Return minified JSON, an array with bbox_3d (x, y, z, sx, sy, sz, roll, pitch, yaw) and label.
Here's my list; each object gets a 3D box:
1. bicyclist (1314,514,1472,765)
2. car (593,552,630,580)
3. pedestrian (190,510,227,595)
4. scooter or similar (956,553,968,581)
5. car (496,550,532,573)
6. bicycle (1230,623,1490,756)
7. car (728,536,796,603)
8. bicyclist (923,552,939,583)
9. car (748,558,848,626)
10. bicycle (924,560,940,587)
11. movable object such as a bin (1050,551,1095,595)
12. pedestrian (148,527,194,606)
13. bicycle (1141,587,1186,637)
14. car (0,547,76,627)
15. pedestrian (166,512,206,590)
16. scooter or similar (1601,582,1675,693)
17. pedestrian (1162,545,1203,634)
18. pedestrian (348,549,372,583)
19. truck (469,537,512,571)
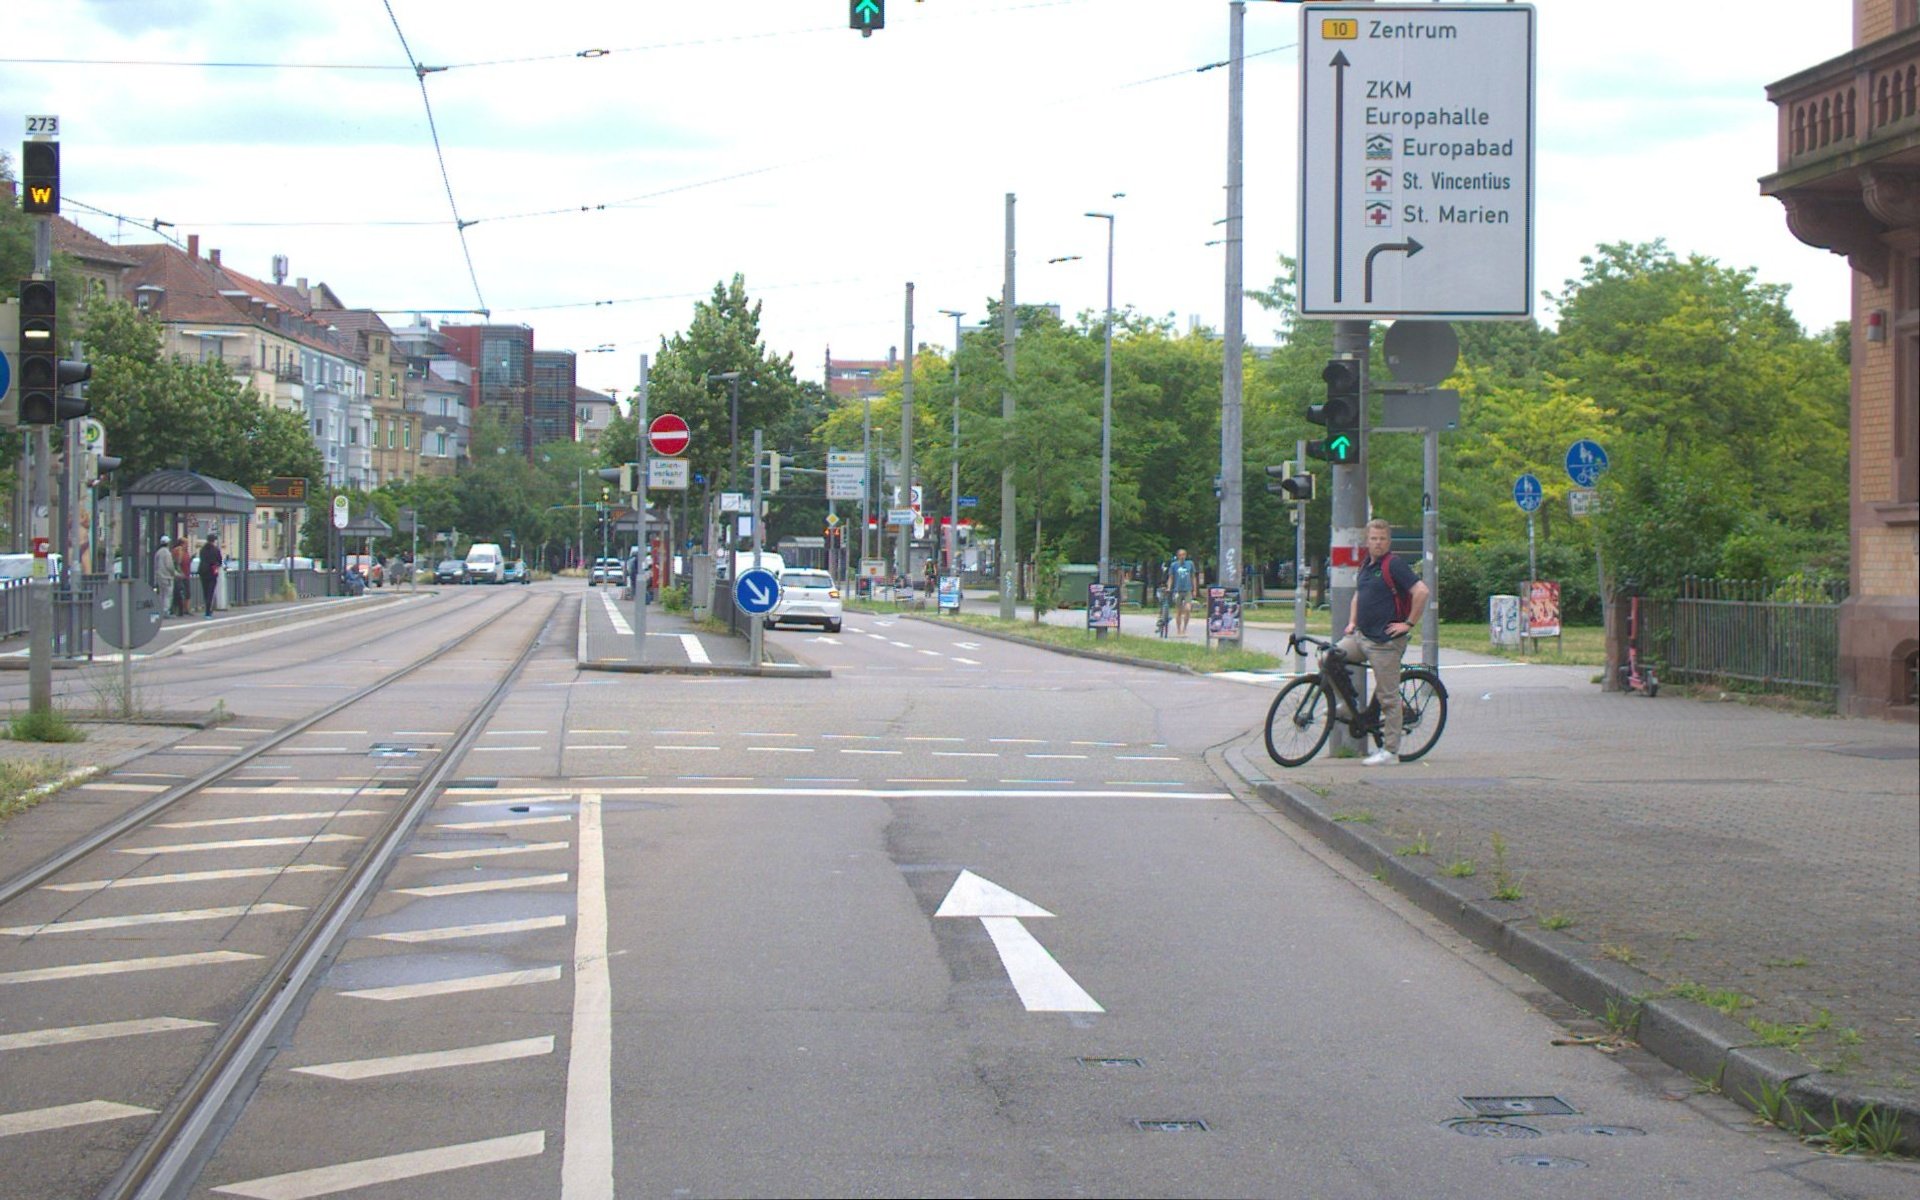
[{"bbox_3d":[3.150,0.275,25.064,0.680,1.789,0.891,1,1,-37],"label":"bicyclist"},{"bbox_3d":[-19.308,-1.893,190.439,1.770,1.488,3.887,1,0,-2],"label":"car"},{"bbox_3d":[-15.315,-0.965,70.050,0.699,1.709,0.699,0,1,-14],"label":"pedestrian"},{"bbox_3d":[0.080,-1.325,137.192,0.376,1.137,1.199,0,1,5],"label":"scooter or similar"},{"bbox_3d":[-28.534,-2.463,220.023,1.770,1.488,3.887,1,0,0],"label":"car"},{"bbox_3d":[2.954,0.642,25.316,1.862,0.921,0.796,0,1,-38],"label":"bicycle"},{"bbox_3d":[-5.957,-0.933,103.161,1.782,1.956,4.383,1,1,-7],"label":"car"},{"bbox_3d":[-1.256,-1.429,150.680,0.679,1.375,0.727,0,1,0],"label":"bicyclist"},{"bbox_3d":[-3.760,-0.204,79.205,1.782,1.467,4.011,1,1,-10],"label":"car"},{"bbox_3d":[-1.243,-1.182,150.676,0.679,1.151,1.898,0,1,0],"label":"bicycle"},{"bbox_3d":[3.634,-0.877,111.190,1.282,1.385,1.159,1,0,-5],"label":"movable object such as a bin"},{"bbox_3d":[-16.225,-0.691,70.734,0.679,1.618,0.632,1,1,35],"label":"pedestrian"},{"bbox_3d":[4.260,0.243,72.216,0.654,0.999,1.779,0,1,-6],"label":"bicycle"},{"bbox_3d":[-19.822,-0.294,72.458,1.770,1.633,4.538,1,0,-8],"label":"car"},{"bbox_3d":[-16.594,-1.051,73.720,0.768,1.654,1.025,0,1,-9],"label":"pedestrian"},{"bbox_3d":[7.100,0.384,36.023,0.376,1.137,1.200,0,1,-9],"label":"scooter or similar"},{"bbox_3d":[4.665,-0.218,72.187,0.739,1.863,0.682,0,1,-7],"label":"pedestrian"},{"bbox_3d":[-22.124,-1.264,126.741,0.864,1.262,0.694,0,1,-8],"label":"pedestrian"},{"bbox_3d":[-27.927,-2.723,204.675,1.788,2.026,5.396,1,0,0],"label":"truck"}]
